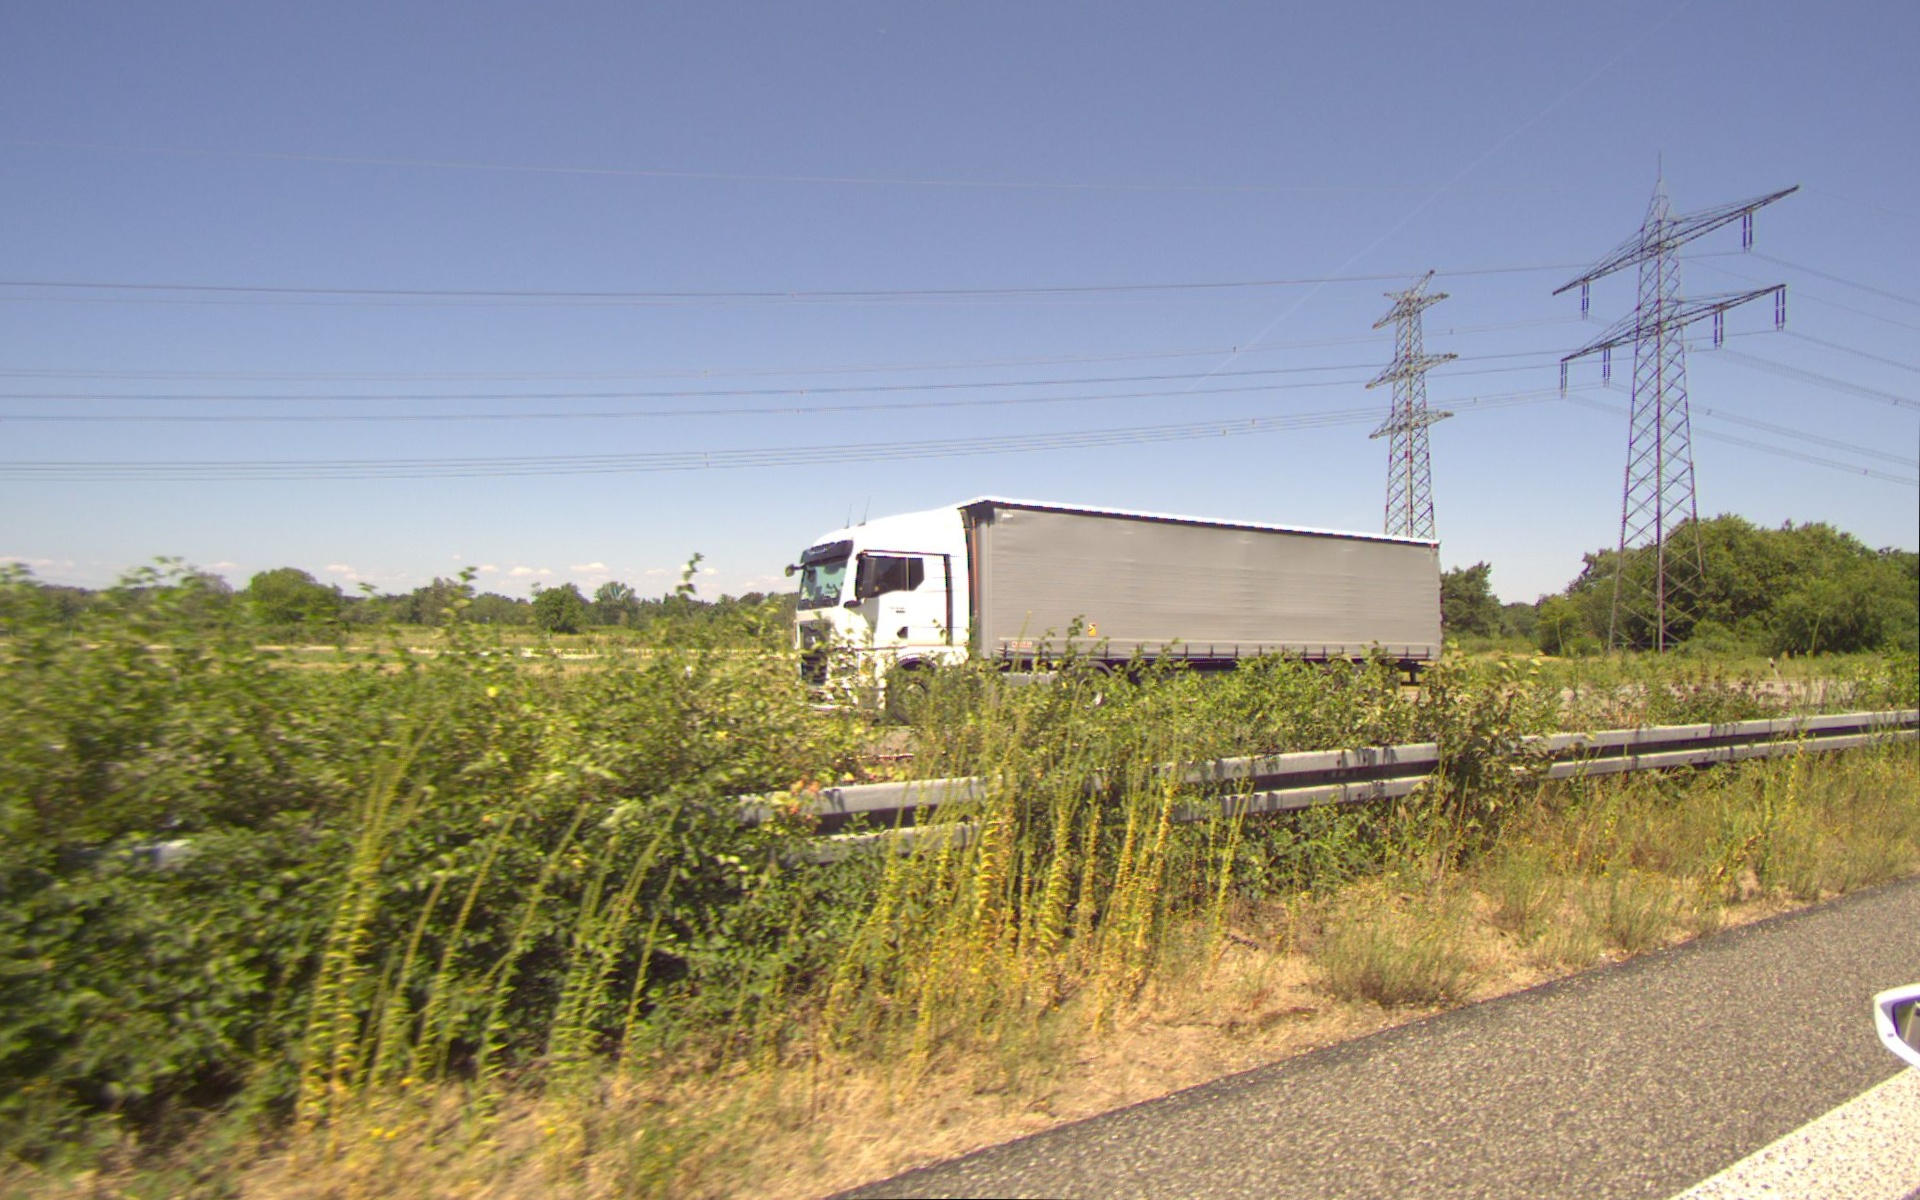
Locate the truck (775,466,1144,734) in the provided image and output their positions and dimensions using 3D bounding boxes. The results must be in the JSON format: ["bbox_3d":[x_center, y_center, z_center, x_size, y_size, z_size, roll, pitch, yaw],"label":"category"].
[{"bbox_3d":[0.026,0.143,19.800,6.480,4.466,3.352,2,-3,-31],"label":"truck"}]

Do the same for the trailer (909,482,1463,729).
[{"bbox_3d":[5.828,0.341,23.294,14.155,4.466,3.352,2,-3,-31],"label":"trailer"}]
